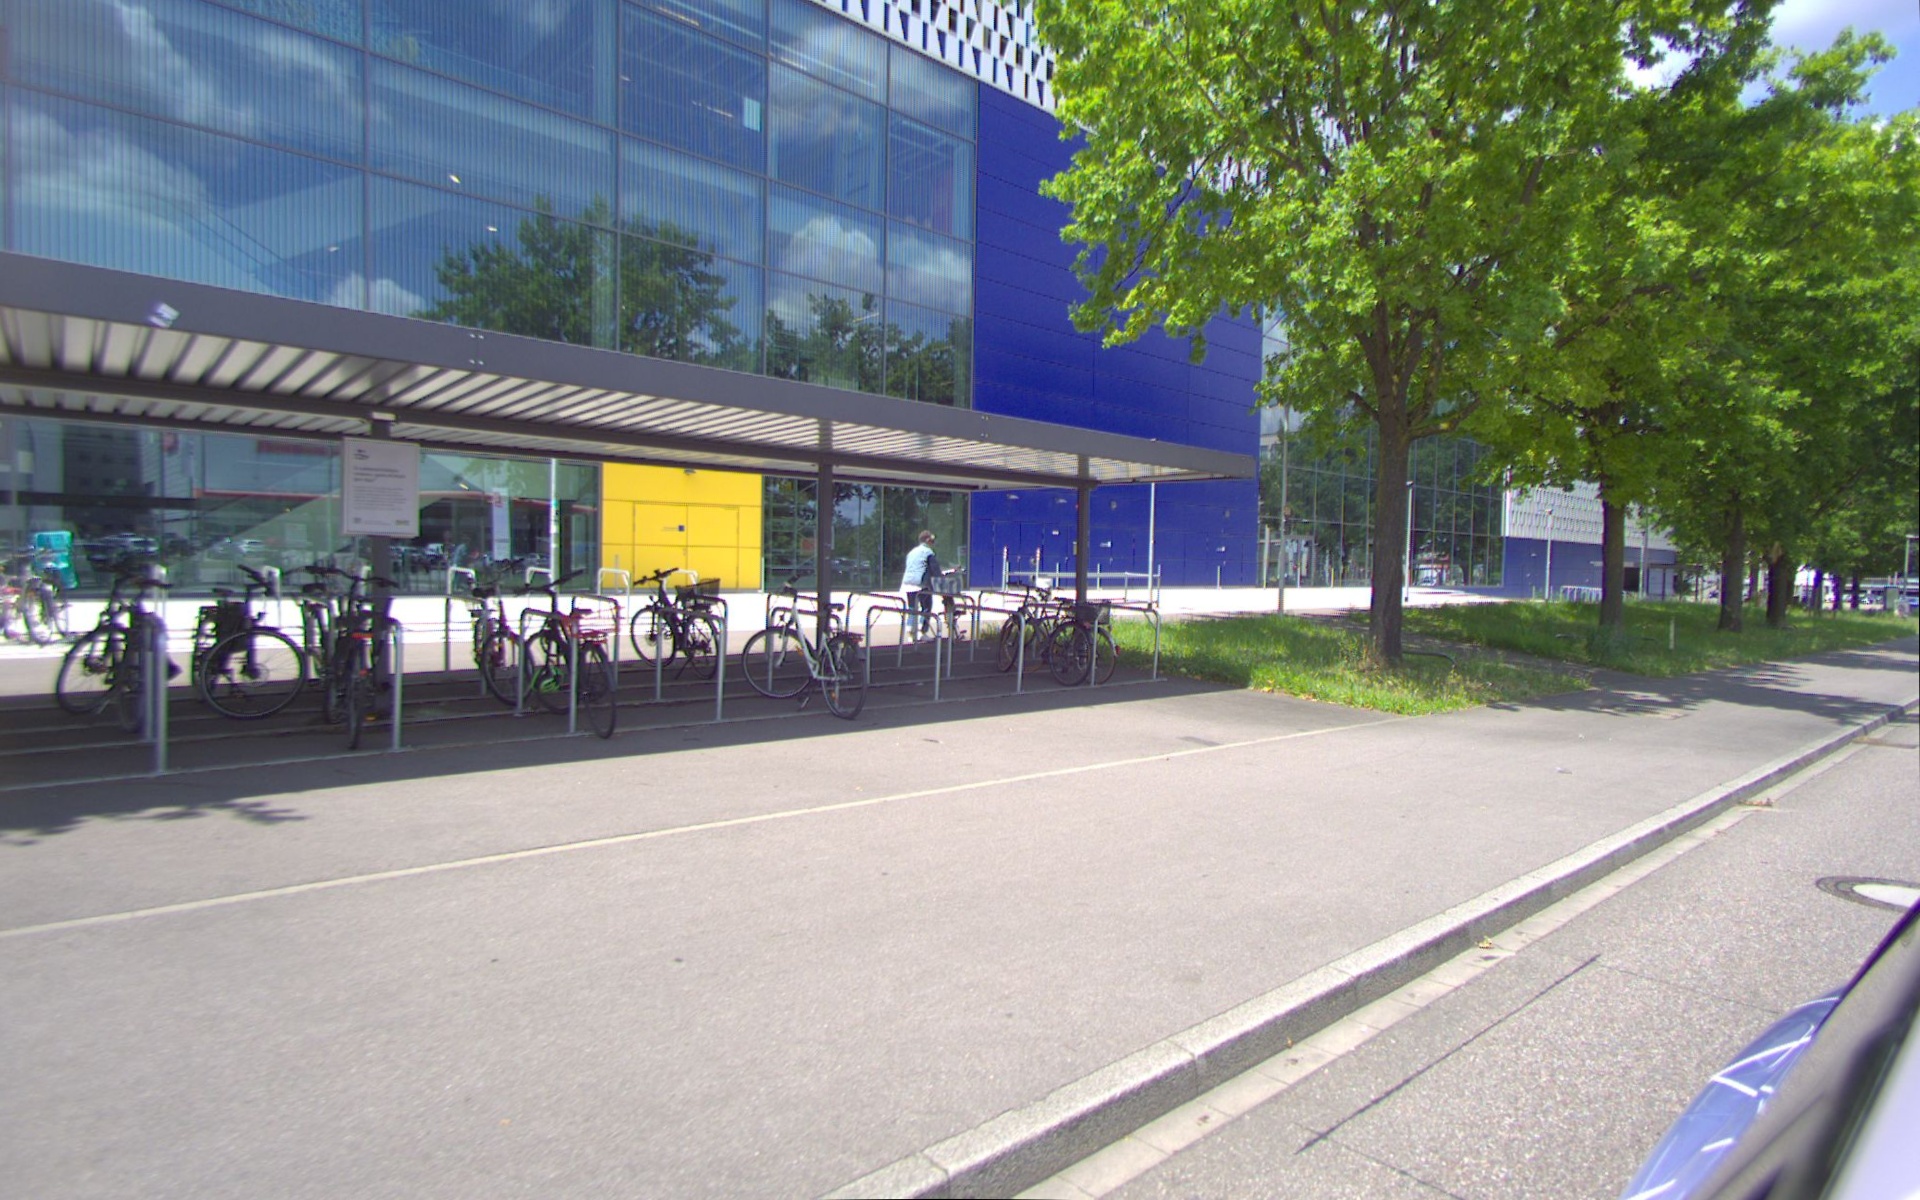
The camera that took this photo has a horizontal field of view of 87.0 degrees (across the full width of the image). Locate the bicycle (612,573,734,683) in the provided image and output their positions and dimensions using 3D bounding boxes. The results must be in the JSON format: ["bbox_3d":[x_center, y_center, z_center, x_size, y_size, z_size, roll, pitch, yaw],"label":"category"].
[{"bbox_3d":[-3.133,0.262,10.943,0.417,1.006,1.864,-1,5,-44],"label":"bicycle"}]

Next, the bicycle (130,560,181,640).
[{"bbox_3d":[-10.133,-0.029,12.730,0.462,0.892,1.866,1,3,-40],"label":"bicycle"}]

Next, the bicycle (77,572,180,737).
[{"bbox_3d":[-6.141,0.342,7.438,0.417,1.007,1.863,0,3,-45],"label":"bicycle"}]

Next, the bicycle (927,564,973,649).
[{"bbox_3d":[-0.171,0.053,15.135,0.566,1.121,2.017,2,3,-3],"label":"bicycle"}]

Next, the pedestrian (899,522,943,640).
[{"bbox_3d":[-0.598,-0.298,15.251,0.622,1.742,0.525,1,3,-3],"label":"pedestrian"}]

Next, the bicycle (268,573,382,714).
[{"bbox_3d":[-5.384,0.310,8.539,0.417,1.006,1.863,-2,4,-44],"label":"bicycle"}]

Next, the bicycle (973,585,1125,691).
[{"bbox_3d":[0.975,0.398,11.567,0.417,1.006,1.864,0,4,-45],"label":"bicycle"}]

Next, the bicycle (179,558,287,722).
[{"bbox_3d":[-5.828,0.260,8.075,0.417,1.129,1.863,-1,3,-45],"label":"bicycle"}]

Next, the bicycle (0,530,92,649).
[{"bbox_3d":[-10.801,-0.163,11.747,0.706,1.244,2.150,1,3,-30],"label":"bicycle"}]

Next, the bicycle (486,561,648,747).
[{"bbox_3d":[-3.022,0.341,7.671,0.417,1.202,1.863,0,3,-45],"label":"bicycle"}]

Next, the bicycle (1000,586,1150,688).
[{"bbox_3d":[1.316,0.398,11.908,0.417,1.006,1.864,0,4,-45],"label":"bicycle"}]

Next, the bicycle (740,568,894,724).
[{"bbox_3d":[-1.329,0.350,9.058,0.416,1.184,1.901,1,3,-39],"label":"bicycle"}]

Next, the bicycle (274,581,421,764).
[{"bbox_3d":[-4.176,0.419,6.837,0.417,1.007,1.863,0,3,-45],"label":"bicycle"}]

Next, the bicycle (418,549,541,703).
[{"bbox_3d":[-4.446,0.183,9.295,0.417,1.246,1.863,0,3,-45],"label":"bicycle"}]
